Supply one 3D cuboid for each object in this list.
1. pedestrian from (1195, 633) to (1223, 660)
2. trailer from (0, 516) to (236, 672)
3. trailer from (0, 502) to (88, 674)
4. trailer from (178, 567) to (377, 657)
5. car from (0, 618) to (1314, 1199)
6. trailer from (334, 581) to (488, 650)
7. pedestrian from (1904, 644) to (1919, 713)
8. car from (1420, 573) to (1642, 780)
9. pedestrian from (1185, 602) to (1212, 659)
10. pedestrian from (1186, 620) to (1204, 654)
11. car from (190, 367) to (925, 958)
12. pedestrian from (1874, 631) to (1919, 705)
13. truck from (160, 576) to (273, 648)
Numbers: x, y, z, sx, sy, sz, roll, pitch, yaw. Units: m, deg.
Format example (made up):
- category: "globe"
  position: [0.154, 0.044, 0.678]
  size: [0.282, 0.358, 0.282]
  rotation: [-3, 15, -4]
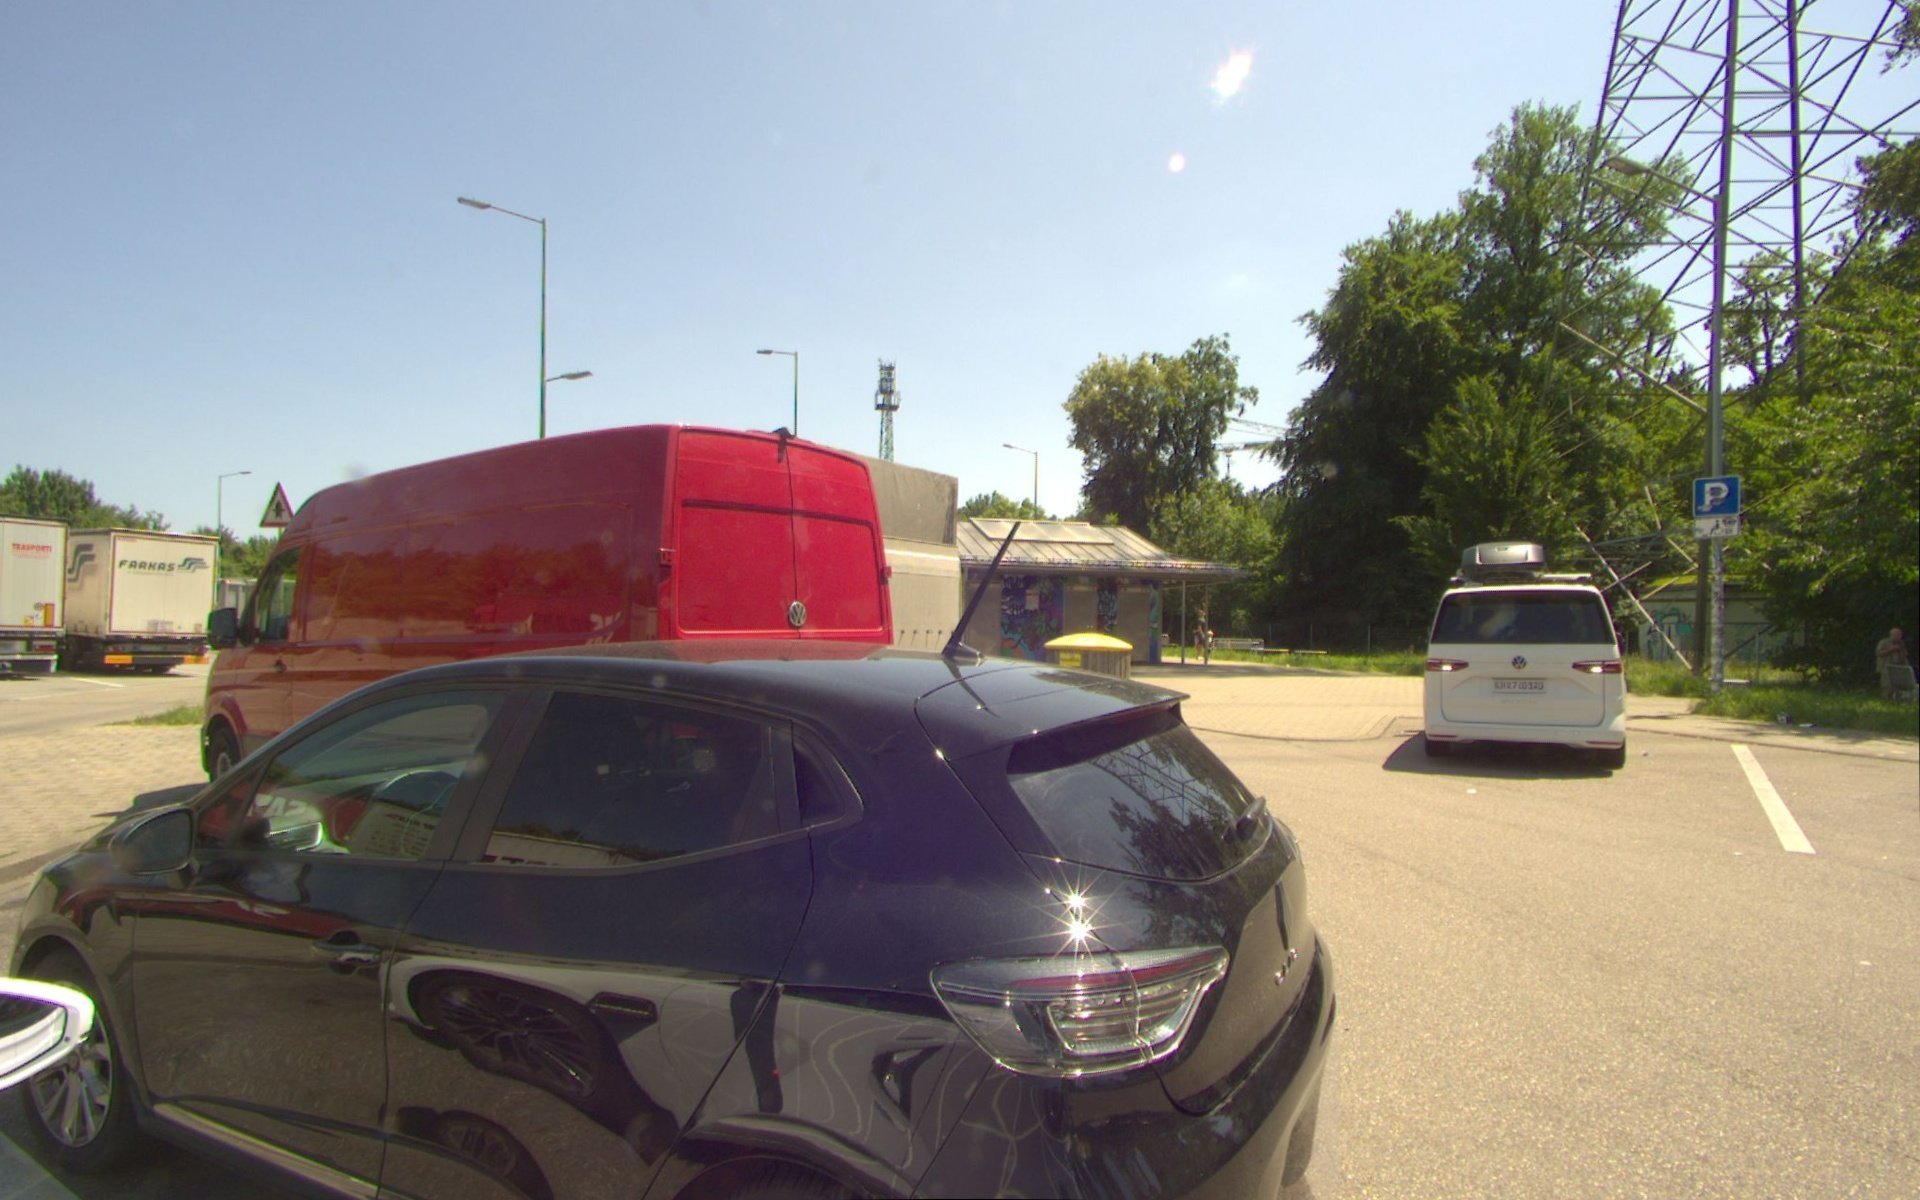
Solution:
- category: "pedestrian"
  position: [8.869, 1.661, 35.627]
  size: [0.763, 0.960, 0.646]
  rotation: [0, -1, -10]
- category: "trailer"
  position: [-27.662, -0.186, 31.642]
  size: [13.523, 4.185, 2.835]
  rotation: [1, -2, 33]
- category: "trailer"
  position: [-28.970, -0.366, 28.161]
  size: [13.523, 4.185, 2.835]
  rotation: [1, -2, 33]
- category: "trailer"
  position: [-32.387, 0.493, 47.153]
  size: [13.530, 3.764, 2.834]
  rotation: [1, -2, 34]
- category: "car"
  position: [-1.065, 0.836, 2.917]
  size: [3.757, 1.501, 1.736]
  rotation: [0, -1, 27]
- category: "trailer"
  position: [-36.050, 0.929, 65.446]
  size: [13.530, 4.101, 2.834]
  rotation: [1, -2, 34]
- category: "pedestrian"
  position: [17.188, 1.364, 17.487]
  size: [0.876, 1.192, 0.666]
  rotation: [-1, -2, 32]
- category: "car"
  position: [6.520, 0.774, 11.853]
  size: [1.881, 1.937, 4.549]
  rotation: [-1, -1, 26]
- category: "pedestrian"
  position: [8.786, 1.129, 36.872]
  size: [0.763, 2.067, 0.646]
  rotation: [0, -1, -10]
- category: "pedestrian"
  position: [10.695, 1.673, 45.576]
  size: [0.634, 1.547, 0.565]
  rotation: [0, -1, -9]
- category: "car"
  position: [-3.356, 0.312, 7.369]
  size: [6.310, 2.731, 2.060]
  rotation: [0, -1, 37]
- category: "pedestrian"
  position: [18.554, 1.329, 19.747]
  size: [0.660, 1.422, 0.647]
  rotation: [-1, -1, 33]
- category: "truck"
  position: [-37.696, 0.577, 50.752]
  size: [5.405, 3.407, 2.847]
  rotation: [1, -2, 34]
